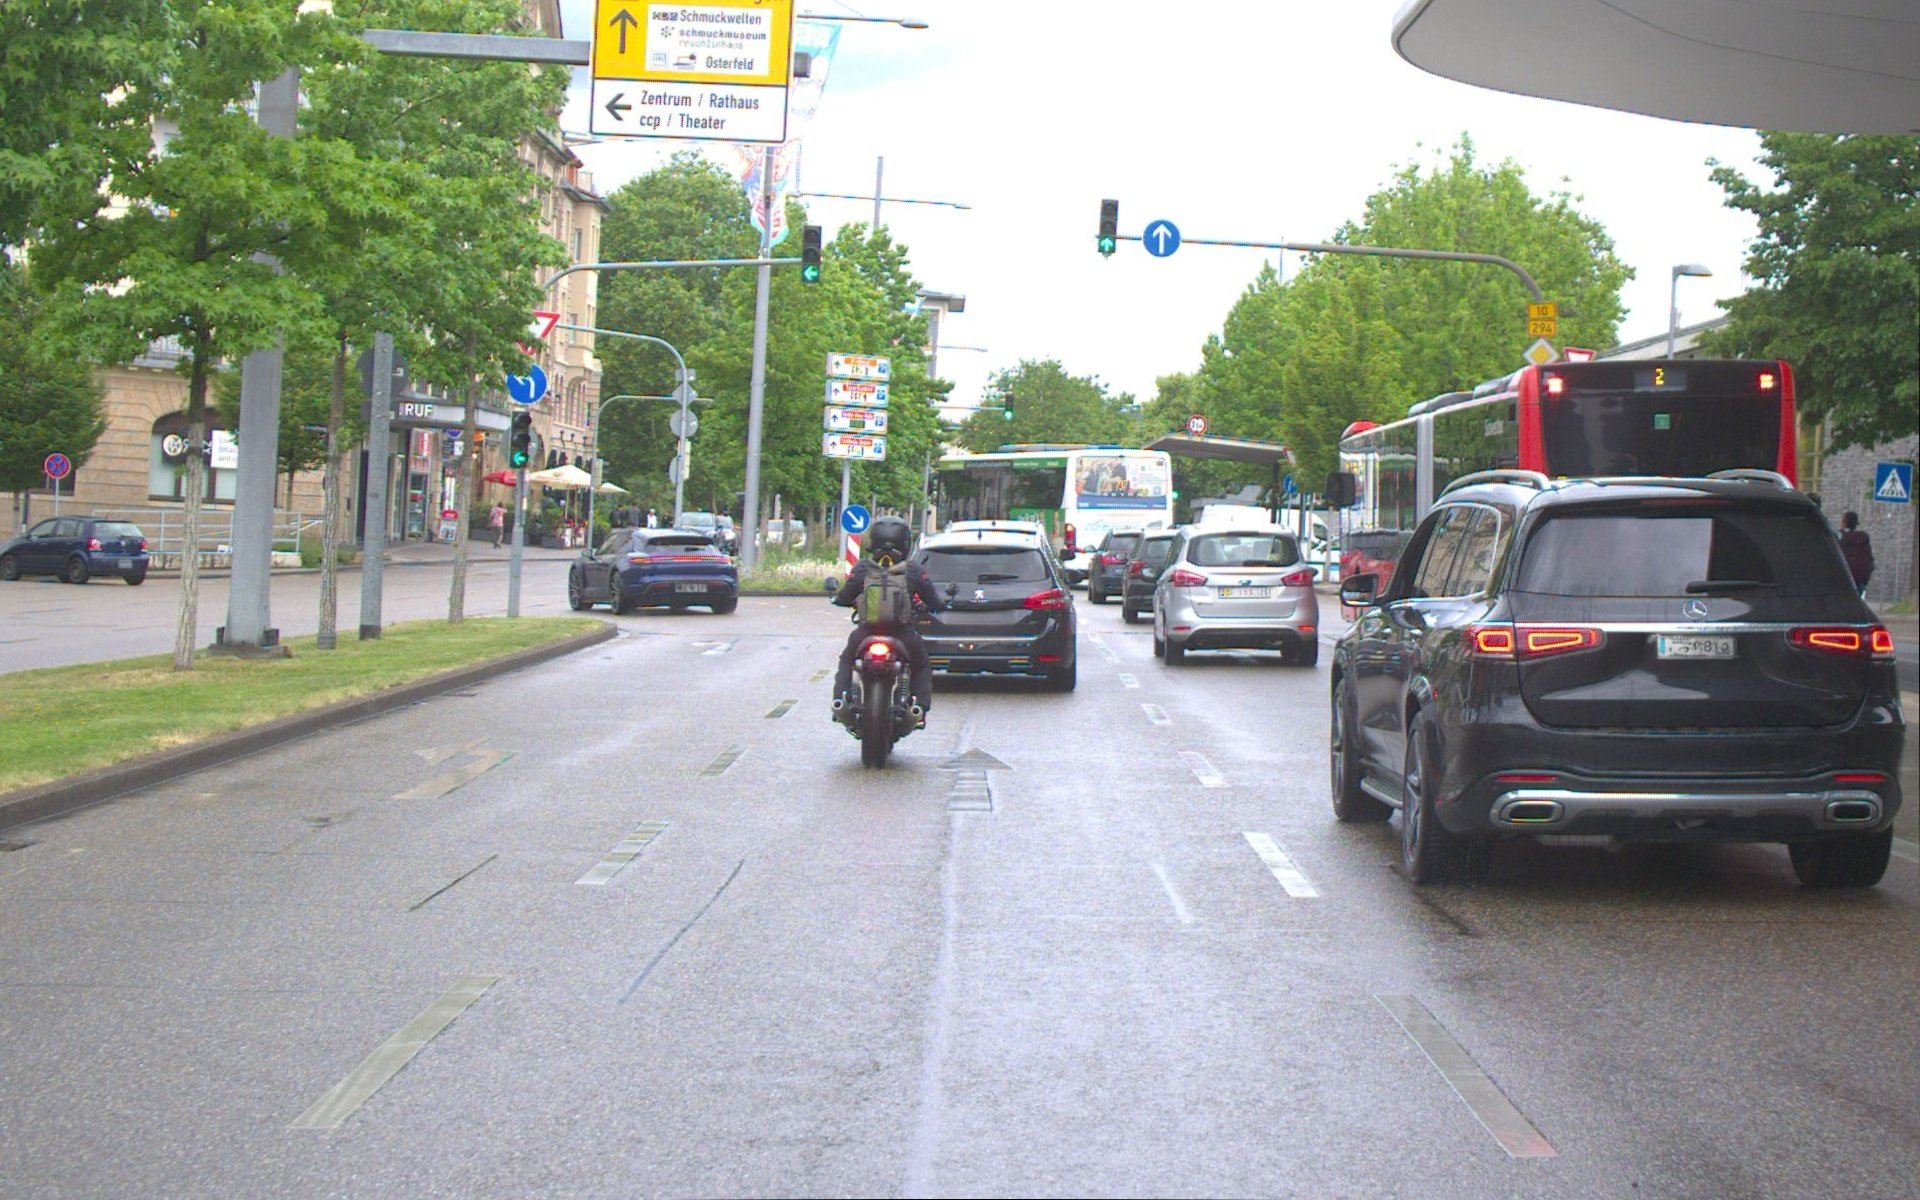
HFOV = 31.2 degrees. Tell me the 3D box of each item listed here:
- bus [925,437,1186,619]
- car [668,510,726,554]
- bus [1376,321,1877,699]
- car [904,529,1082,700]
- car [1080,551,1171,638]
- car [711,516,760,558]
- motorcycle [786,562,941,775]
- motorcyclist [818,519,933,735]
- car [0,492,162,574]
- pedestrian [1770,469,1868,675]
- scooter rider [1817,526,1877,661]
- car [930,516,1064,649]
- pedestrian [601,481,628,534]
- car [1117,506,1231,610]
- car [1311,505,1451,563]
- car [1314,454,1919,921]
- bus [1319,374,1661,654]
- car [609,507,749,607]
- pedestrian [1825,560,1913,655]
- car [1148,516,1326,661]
[{"bbox_3d":[2.097,-1.734,82.687,2.837,3.974,11.868,2,1,-15],"label":"bus"},{"bbox_3d":[-9.329,-2.426,122.181,1.780,1.562,3.430,0,1,1],"label":"car"},{"bbox_3d":[6.581,-0.915,36.007,3.286,3.280,10.878,1,1,1],"label":"bus"},{"bbox_3d":[0.337,0.086,32.352,1.575,1.499,3.871,0,1,1],"label":"car"},{"bbox_3d":[3.110,-0.124,65.261,1.575,1.562,3.796,0,1,1],"label":"car"},{"bbox_3d":[-8.361,-2.357,128.096,1.575,1.562,3.430,0,1,1],"label":"car"},{"bbox_3d":[-0.592,0.404,21.768,0.793,1.258,1.855,1,1,4],"label":"motorcycle"},{"bbox_3d":[-0.534,0.162,21.937,0.641,1.343,0.689,1,1,4],"label":"motorcyclist"},{"bbox_3d":[-19.007,-1.450,73.850,3.703,1.622,1.837,3,1,44],"label":"car"},{"bbox_3d":[8.722,-0.283,34.935,0.778,2.006,0.781,5,1,13],"label":"pedestrian"},{"bbox_3d":[10.021,-0.075,38.854,0.592,1.485,0.764,2,0,14],"label":"scooter rider"},{"bbox_3d":[0.458,-0.253,42.336,1.575,1.562,3.871,0,1,1],"label":"car"},{"bbox_3d":[-13.014,-3.476,129.549,0.724,1.959,0.826,1,1,-26],"label":"pedestrian"},{"bbox_3d":[3.302,-0.679,53.556,1.575,1.562,3.871,0,1,1],"label":"car"},{"bbox_3d":[11.543,-1.825,94.374,1.576,1.562,3.795,-1,2,-38],"label":"car"},{"bbox_3d":[2.877,0.292,16.185,1.957,1.869,4.874,0,1,1],"label":"car"},{"bbox_3d":[6.804,-1.121,45.587,3.291,3.278,8.849,1,1,1],"label":"bus"},{"bbox_3d":[-4.543,-0.729,56.077,1.816,1.565,4.404,0,1,1],"label":"car"},{"bbox_3d":[10.256,0.087,38.800,0.914,0.981,0.633,3,-3,15],"label":"pedestrian"},{"bbox_3d":[3.088,-0.169,38.926,1.741,1.562,3.871,0,1,1],"label":"car"}]
